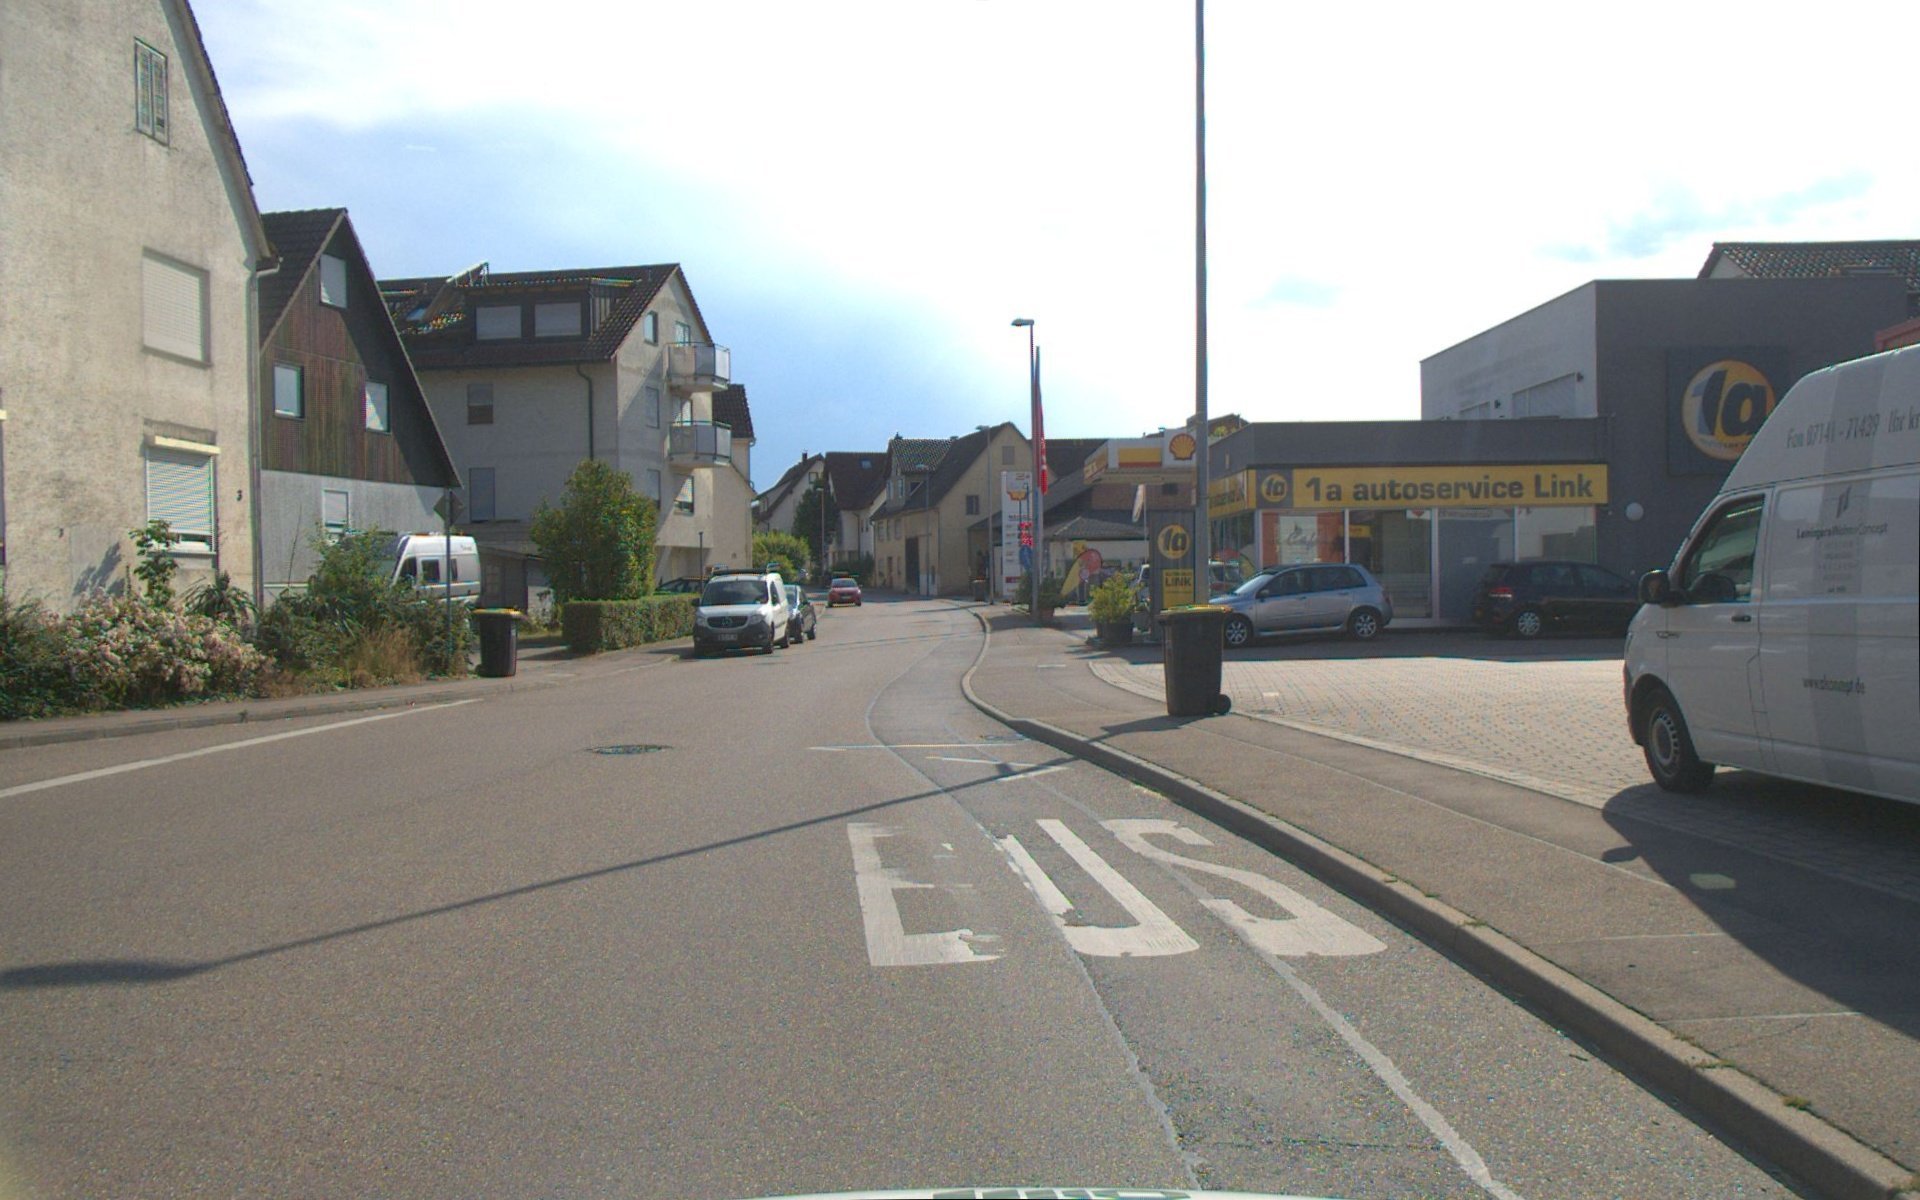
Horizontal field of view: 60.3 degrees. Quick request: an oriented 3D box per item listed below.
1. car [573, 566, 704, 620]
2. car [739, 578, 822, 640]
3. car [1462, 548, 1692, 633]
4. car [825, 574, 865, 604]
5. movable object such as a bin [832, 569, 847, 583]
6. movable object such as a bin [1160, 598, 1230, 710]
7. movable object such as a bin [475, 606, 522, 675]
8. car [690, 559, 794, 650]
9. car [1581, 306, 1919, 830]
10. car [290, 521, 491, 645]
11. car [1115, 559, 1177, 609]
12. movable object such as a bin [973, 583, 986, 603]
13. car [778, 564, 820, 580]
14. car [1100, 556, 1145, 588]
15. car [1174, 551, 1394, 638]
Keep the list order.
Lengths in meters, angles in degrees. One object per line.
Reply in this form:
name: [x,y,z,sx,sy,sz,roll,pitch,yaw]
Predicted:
car: [-10.838,-0.248,55.837,3.902,1.565,1.764,4,2,12]
car: [-4.660,0.197,43.361,1.638,1.477,3.835,-2,1,1]
car: [11.919,-0.209,32.103,3.827,1.493,1.716,-1,2,-4]
car: [-6.161,-0.588,88.080,1.678,1.459,3.771,-3,1,-10]
movable object such as a bin: [-9.941,-1.990,136.856,1.140,1.188,0.653,-1,1,-12]
movable object such as a bin: [2.374,0.537,16.758,0.556,1.094,0.572,-2,1,-4]
movable object such as a bin: [-7.586,0.659,27.192,0.598,1.120,0.576,0,-1,1]
car: [-4.944,0.071,38.012,1.681,1.905,4.193,-2,1,1]
car: [5.269,-0.176,8.659,1.800,2.416,5.175,-2,1,-3]
car: [-13.074,-0.410,38.509,2.113,2.641,6.098,0,1,5]
car: [6.368,-0.577,56.966,1.637,1.604,3.999,-2,1,0]
movable object such as a bin: [1.021,-0.373,88.035,0.640,1.092,0.513,-1,1,-3]
car: [-15.366,-2.655,157.491,3.913,1.376,1.707,-1,1,-9]
car: [7.568,-1.313,77.133,1.546,1.452,4.380,0,1,-2]
car: [6.291,-0.124,32.254,3.911,1.558,1.525,-2,1,-7]
